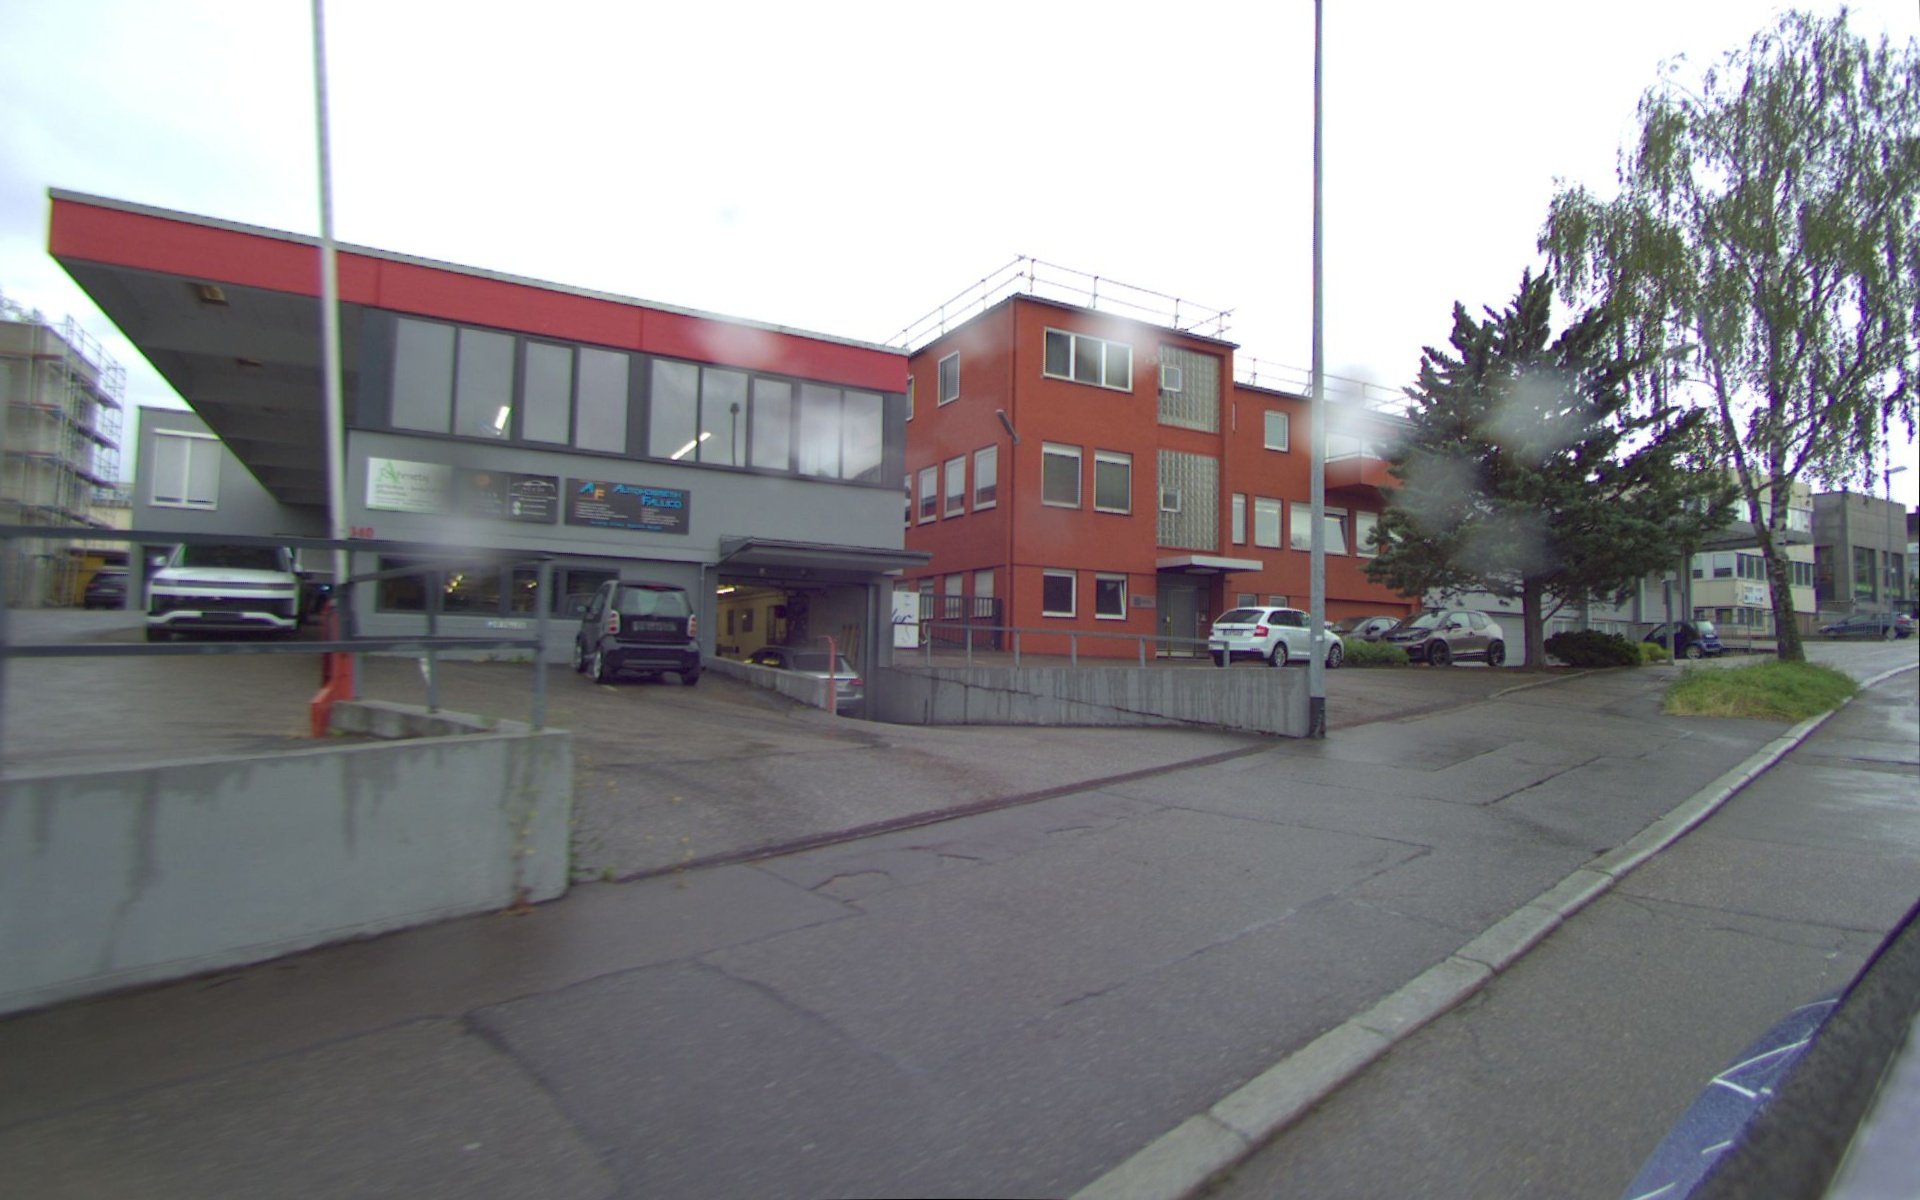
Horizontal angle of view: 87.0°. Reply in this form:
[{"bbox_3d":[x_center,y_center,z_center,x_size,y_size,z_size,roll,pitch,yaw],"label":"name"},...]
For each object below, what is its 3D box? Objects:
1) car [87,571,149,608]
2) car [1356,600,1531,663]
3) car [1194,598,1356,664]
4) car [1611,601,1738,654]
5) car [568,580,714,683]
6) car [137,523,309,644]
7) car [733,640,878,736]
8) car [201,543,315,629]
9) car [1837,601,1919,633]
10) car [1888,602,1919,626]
[{"bbox_3d":[-36.503,-0.435,43.956,1.609,1.491,3.063,0,-1,-31],"label":"car"},{"bbox_3d":[13.188,0.840,27.599,4.419,1.600,2.004,0,-3,-27],"label":"car"},{"bbox_3d":[7.782,0.713,24.827,4.254,1.489,1.906,1,-1,-42],"label":"car"},{"bbox_3d":[27.219,1.063,38.641,1.585,1.520,3.447,0,-10,-26],"label":"car"},{"bbox_3d":[-5.133,0.453,16.121,1.645,1.465,2.723,0,0,-31],"label":"car"},{"bbox_3d":[-12.281,-0.280,17.113,1.821,1.760,3.942,2,0,-29],"label":"car"},{"bbox_3d":[-3.019,1.603,19.379,1.598,1.514,3.046,1,0,-33],"label":"car"},{"bbox_3d":[-15.347,-0.312,22.285,1.636,1.677,3.715,2,0,-29],"label":"car"},{"bbox_3d":[49.076,0.896,53.535,1.599,1.559,3.754,1,0,-32],"label":"car"},{"bbox_3d":[61.183,0.852,63.044,1.902,1.516,4.630,0,-1,-30],"label":"car"}]
